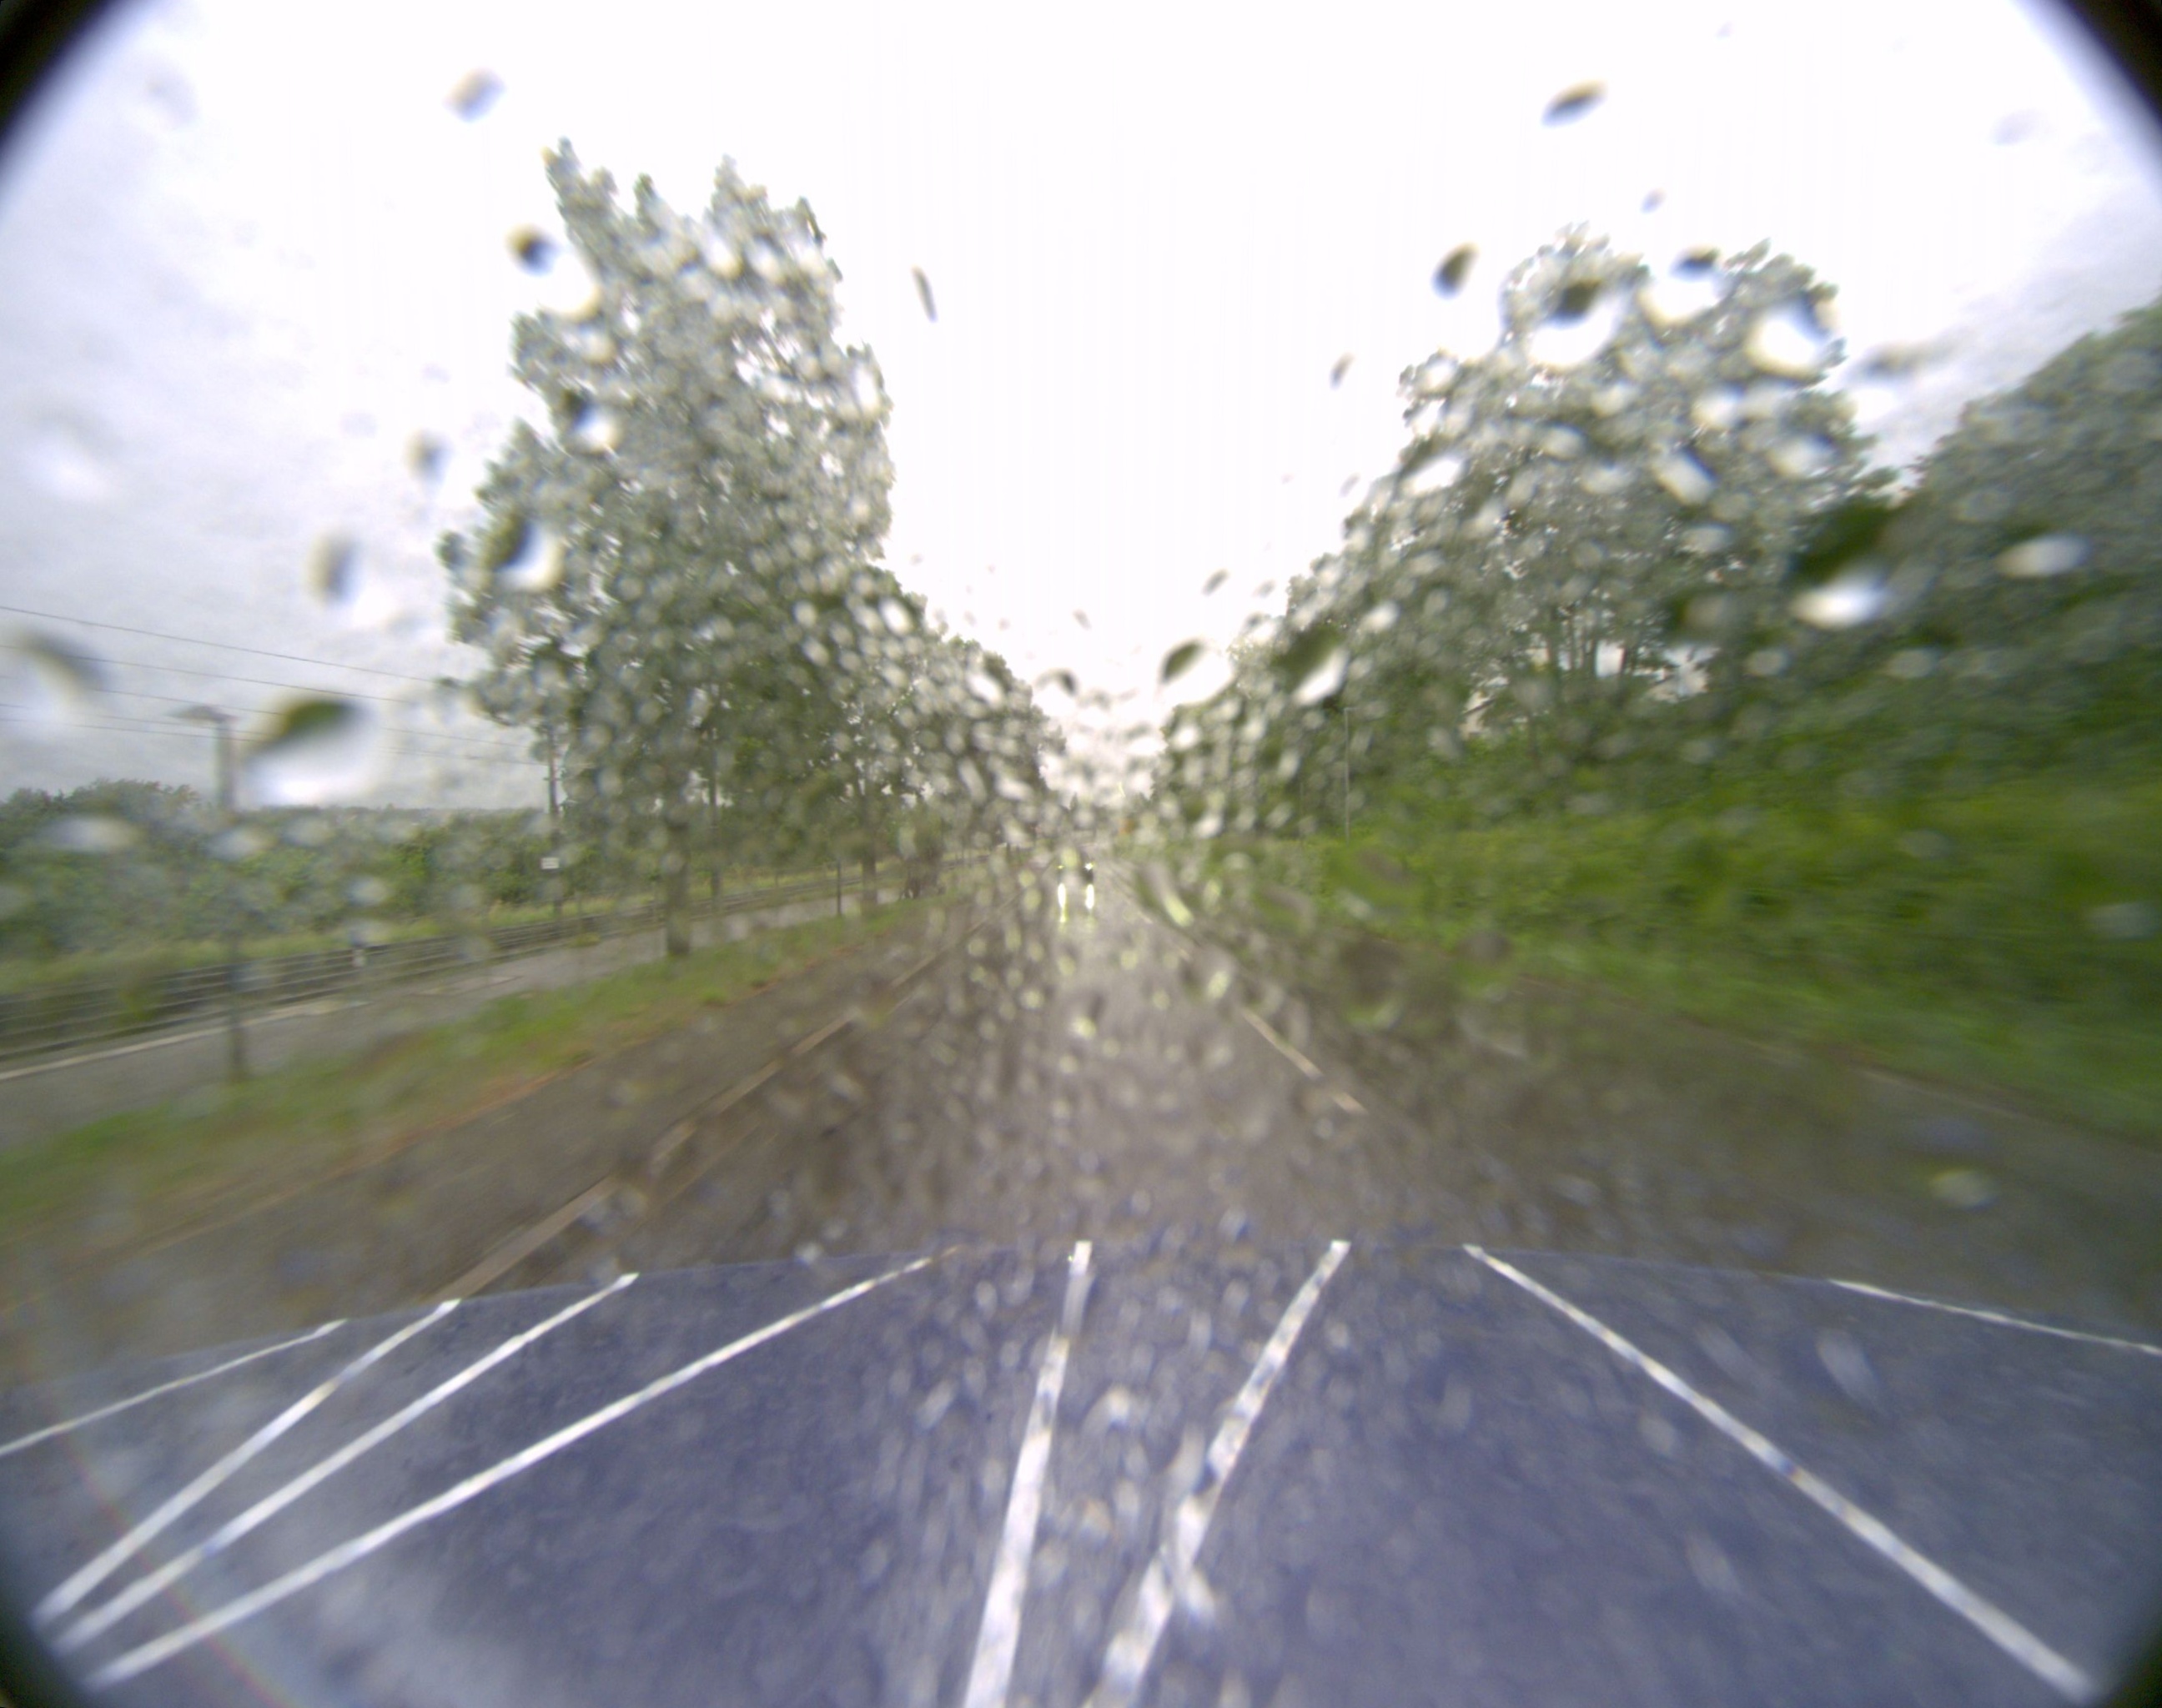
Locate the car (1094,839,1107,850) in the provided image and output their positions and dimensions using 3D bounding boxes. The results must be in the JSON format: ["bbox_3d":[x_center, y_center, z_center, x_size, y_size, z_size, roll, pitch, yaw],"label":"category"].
[{"bbox_3d":[2.842,-1.382,112.503,1.765,1.611,3.789,0,1,-1],"label":"car"}]

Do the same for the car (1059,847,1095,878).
[{"bbox_3d":[-0.151,0.416,39.712,1.764,1.477,3.790,0,1,2],"label":"car"}]
